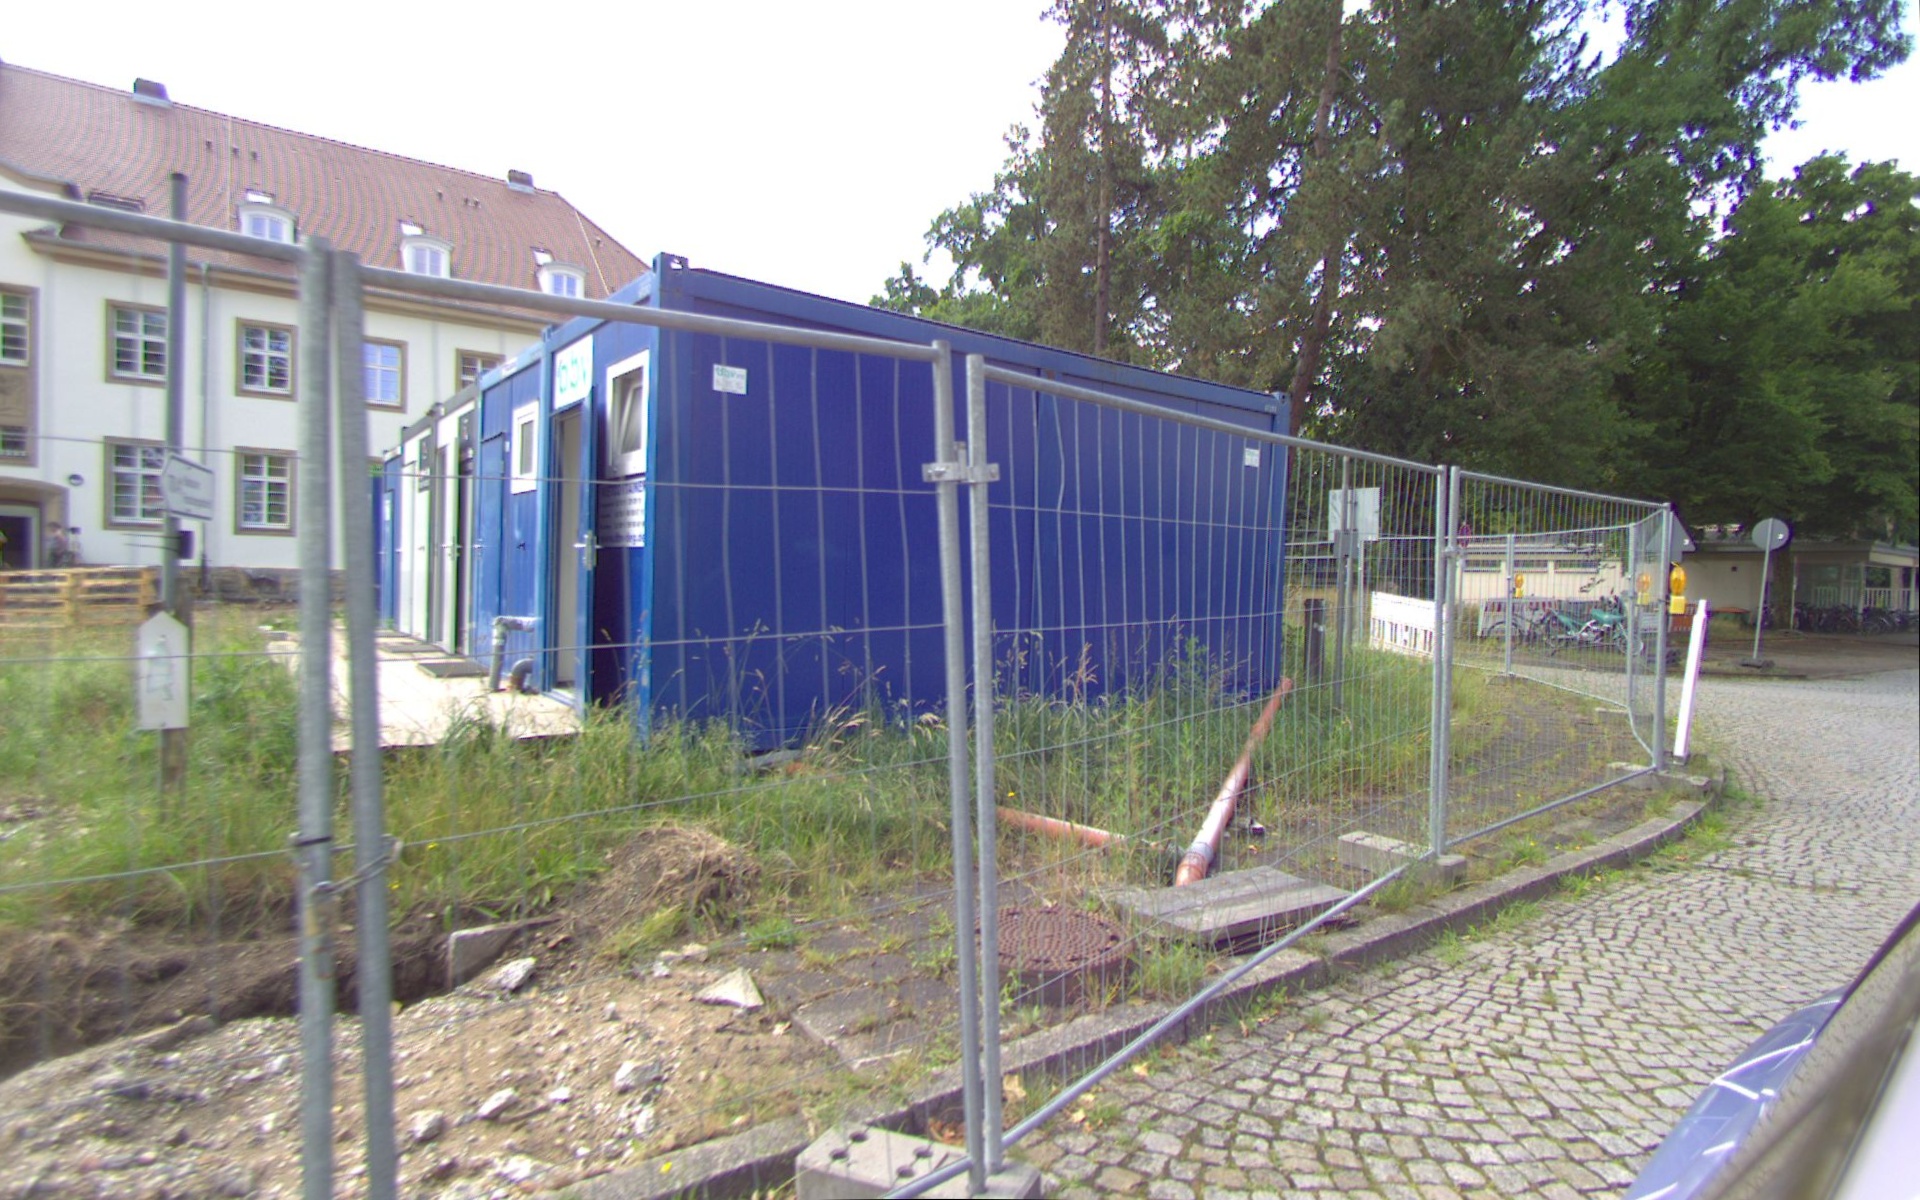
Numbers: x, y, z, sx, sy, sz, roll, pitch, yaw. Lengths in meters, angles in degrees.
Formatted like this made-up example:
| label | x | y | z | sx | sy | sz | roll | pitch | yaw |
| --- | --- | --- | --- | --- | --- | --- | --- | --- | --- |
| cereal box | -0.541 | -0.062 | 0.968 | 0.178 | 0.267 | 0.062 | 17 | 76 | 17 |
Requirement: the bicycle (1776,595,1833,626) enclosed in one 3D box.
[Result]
| label | x | y | z | sx | sy | sz | roll | pitch | yaw |
| --- | --- | --- | --- | --- | --- | --- | --- | --- | --- |
| bicycle | 36.132 | 0.436 | 43.337 | 0.597 | 1.179 | 1.745 | 1 | 3 | -40 |

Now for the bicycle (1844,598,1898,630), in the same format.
| label | x | y | z | sx | sy | sz | roll | pitch | yaw |
| --- | --- | --- | --- | --- | --- | --- | --- | --- | --- |
| bicycle | 38.604 | 0.586 | 42.911 | 1.628 | 1.204 | 0.466 | 5 | 3 | 41 |

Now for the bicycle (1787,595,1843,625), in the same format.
| label | x | y | z | sx | sy | sz | roll | pitch | yaw |
| --- | --- | --- | --- | --- | --- | --- | --- | --- | --- |
| bicycle | 37.017 | 0.440 | 43.836 | 0.597 | 1.179 | 1.745 | 1 | 3 | -40 |

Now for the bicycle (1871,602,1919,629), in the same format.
| label | x | y | z | sx | sy | sz | roll | pitch | yaw |
| --- | --- | --- | --- | --- | --- | --- | --- | --- | --- |
| bicycle | 41.217 | 0.693 | 44.559 | 0.320 | 1.063 | 1.593 | 1 | 3 | -43 |

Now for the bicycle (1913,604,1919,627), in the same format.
| label | x | y | z | sx | sy | sz | roll | pitch | yaw |
| --- | --- | --- | --- | --- | --- | --- | --- | --- | --- |
| bicycle | 44.832 | 0.732 | 46.554 | 1.393 | 1.059 | 0.336 | 2 | 1 | 28 |

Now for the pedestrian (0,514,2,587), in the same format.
| label | x | y | z | sx | sy | sz | roll | pitch | yaw |
| --- | --- | --- | --- | --- | --- | --- | --- | --- | --- |
| pedestrian | -24.853 | -1.257 | 25.688 | 0.721 | 1.857 | 0.646 | 1 | 1 | -38 |

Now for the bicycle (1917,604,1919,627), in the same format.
| label | x | y | z | sx | sy | sz | roll | pitch | yaw |
| --- | --- | --- | --- | --- | --- | --- | --- | --- | --- |
| bicycle | 44.540 | 0.726 | 46.207 | 1.145 | 1.076 | 0.284 | 2 | 1 | 33 |

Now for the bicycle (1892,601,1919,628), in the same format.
| label | x | y | z | sx | sy | sz | roll | pitch | yaw |
| --- | --- | --- | --- | --- | --- | --- | --- | --- | --- |
| bicycle | 43.776 | 0.683 | 46.312 | 0.350 | 1.155 | 1.615 | 1 | 3 | -43 |

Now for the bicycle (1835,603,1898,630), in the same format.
| label | x | y | z | sx | sy | sz | roll | pitch | yaw |
| --- | --- | --- | --- | --- | --- | --- | --- | --- | --- |
| bicycle | 37.613 | 0.676 | 42.022 | 1.727 | 0.988 | 0.753 | 4 | 2 | 24 |

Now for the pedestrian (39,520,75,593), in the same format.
| label | x | y | z | sx | sy | sz | roll | pitch | yaw |
| --- | --- | --- | --- | --- | --- | --- | --- | --- | --- |
| pedestrian | -23.520 | -1.116 | 26.375 | 0.635 | 1.857 | 0.877 | 1 | 1 | -39 |

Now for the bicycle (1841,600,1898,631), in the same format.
| label | x | y | z | sx | sy | sz | roll | pitch | yaw |
| --- | --- | --- | --- | --- | --- | --- | --- | --- | --- |
| bicycle | 37.129 | 0.628 | 41.337 | 1.675 | 1.122 | 0.333 | 5 | 3 | 41 |

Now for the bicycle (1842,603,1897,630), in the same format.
| label | x | y | z | sx | sy | sz | roll | pitch | yaw |
| --- | --- | --- | --- | --- | --- | --- | --- | --- | --- |
| bicycle | 38.158 | 0.691 | 42.474 | 1.617 | 0.988 | 0.320 | 4 | 2 | 24 |

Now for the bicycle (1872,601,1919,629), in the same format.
| label | x | y | z | sx | sy | sz | roll | pitch | yaw |
| --- | --- | --- | --- | --- | --- | --- | --- | --- | --- |
| bicycle | 41.603 | 0.655 | 44.895 | 0.320 | 1.155 | 1.593 | 1 | 3 | -43 |

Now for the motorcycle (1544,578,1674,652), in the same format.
| label | x | y | z | sx | sy | sz | roll | pitch | yaw |
| --- | --- | --- | --- | --- | --- | --- | --- | --- | --- |
| motorcycle | 14.368 | 0.302 | 22.468 | 0.744 | 1.503 | 2.281 | 1 | 2 | -41 |

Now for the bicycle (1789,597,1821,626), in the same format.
| label | x | y | z | sx | sy | sz | roll | pitch | yaw |
| --- | --- | --- | --- | --- | --- | --- | --- | --- | --- |
| bicycle | 34.155 | 0.472 | 40.897 | 1.605 | 1.130 | 0.598 | 1 | 3 | -38 |

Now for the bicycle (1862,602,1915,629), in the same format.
| label | x | y | z | sx | sy | sz | roll | pitch | yaw |
| --- | --- | --- | --- | --- | --- | --- | --- | --- | --- |
| bicycle | 40.689 | 0.677 | 44.354 | 1.628 | 1.063 | 0.329 | 5 | 3 | 40 |

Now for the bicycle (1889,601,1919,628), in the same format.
| label | x | y | z | sx | sy | sz | roll | pitch | yaw |
| --- | --- | --- | --- | --- | --- | --- | --- | --- | --- |
| bicycle | 42.972 | 0.674 | 45.549 | 0.320 | 1.155 | 1.615 | 1 | 3 | -43 |

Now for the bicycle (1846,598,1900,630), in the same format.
| label | x | y | z | sx | sy | sz | roll | pitch | yaw |
| --- | --- | --- | --- | --- | --- | --- | --- | --- | --- |
| bicycle | 39.001 | 0.586 | 43.246 | 1.629 | 1.204 | 0.413 | 5 | 3 | 42 |

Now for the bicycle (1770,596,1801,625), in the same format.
| label | x | y | z | sx | sy | sz | roll | pitch | yaw |
| --- | --- | --- | --- | --- | --- | --- | --- | --- | --- |
| bicycle | 33.788 | 0.434 | 41.406 | 1.605 | 1.130 | 0.598 | 1 | 3 | -38 |

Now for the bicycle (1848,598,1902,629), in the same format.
| label | x | y | z | sx | sy | sz | roll | pitch | yaw |
| --- | --- | --- | --- | --- | --- | --- | --- | --- | --- |
| bicycle | 39.450 | 0.587 | 43.649 | 1.629 | 1.204 | 0.413 | 5 | 3 | 42 |

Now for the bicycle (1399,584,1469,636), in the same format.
| label | x | y | z | sx | sy | sz | roll | pitch | yaw |
| --- | --- | --- | --- | --- | --- | --- | --- | --- | --- |
| bicycle | 11.428 | 0.255 | 24.381 | 1.868 | 1.184 | 0.645 | 2 | 1 | -35 |

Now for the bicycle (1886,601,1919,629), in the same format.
| label | x | y | z | sx | sy | sz | roll | pitch | yaw |
| --- | --- | --- | --- | --- | --- | --- | --- | --- | --- |
| bicycle | 42.637 | 0.673 | 45.366 | 0.320 | 1.155 | 1.615 | 1 | 3 | -43 |

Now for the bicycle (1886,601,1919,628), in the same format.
| label | x | y | z | sx | sy | sz | roll | pitch | yaw |
| --- | --- | --- | --- | --- | --- | --- | --- | --- | --- |
| bicycle | 43.224 | 0.681 | 45.965 | 0.350 | 1.155 | 1.615 | 1 | 3 | -43 |

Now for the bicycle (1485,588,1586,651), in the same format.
| label | x | y | z | sx | sy | sz | roll | pitch | yaw |
| --- | --- | --- | --- | --- | --- | --- | --- | --- | --- |
| bicycle | 12.168 | 0.390 | 21.473 | 0.642 | 1.212 | 1.909 | 2 | 2 | -17 |

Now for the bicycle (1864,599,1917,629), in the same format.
| label | x | y | z | sx | sy | sz | roll | pitch | yaw |
| --- | --- | --- | --- | --- | --- | --- | --- | --- | --- |
| bicycle | 40.284 | 0.594 | 43.844 | 1.629 | 1.204 | 0.491 | 5 | 3 | 42 |

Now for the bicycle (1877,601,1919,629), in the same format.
| label | x | y | z | sx | sy | sz | roll | pitch | yaw |
| --- | --- | --- | --- | --- | --- | --- | --- | --- | --- |
| bicycle | 42.150 | 0.671 | 45.263 | 0.320 | 1.155 | 1.615 | 1 | 3 | -43 |
